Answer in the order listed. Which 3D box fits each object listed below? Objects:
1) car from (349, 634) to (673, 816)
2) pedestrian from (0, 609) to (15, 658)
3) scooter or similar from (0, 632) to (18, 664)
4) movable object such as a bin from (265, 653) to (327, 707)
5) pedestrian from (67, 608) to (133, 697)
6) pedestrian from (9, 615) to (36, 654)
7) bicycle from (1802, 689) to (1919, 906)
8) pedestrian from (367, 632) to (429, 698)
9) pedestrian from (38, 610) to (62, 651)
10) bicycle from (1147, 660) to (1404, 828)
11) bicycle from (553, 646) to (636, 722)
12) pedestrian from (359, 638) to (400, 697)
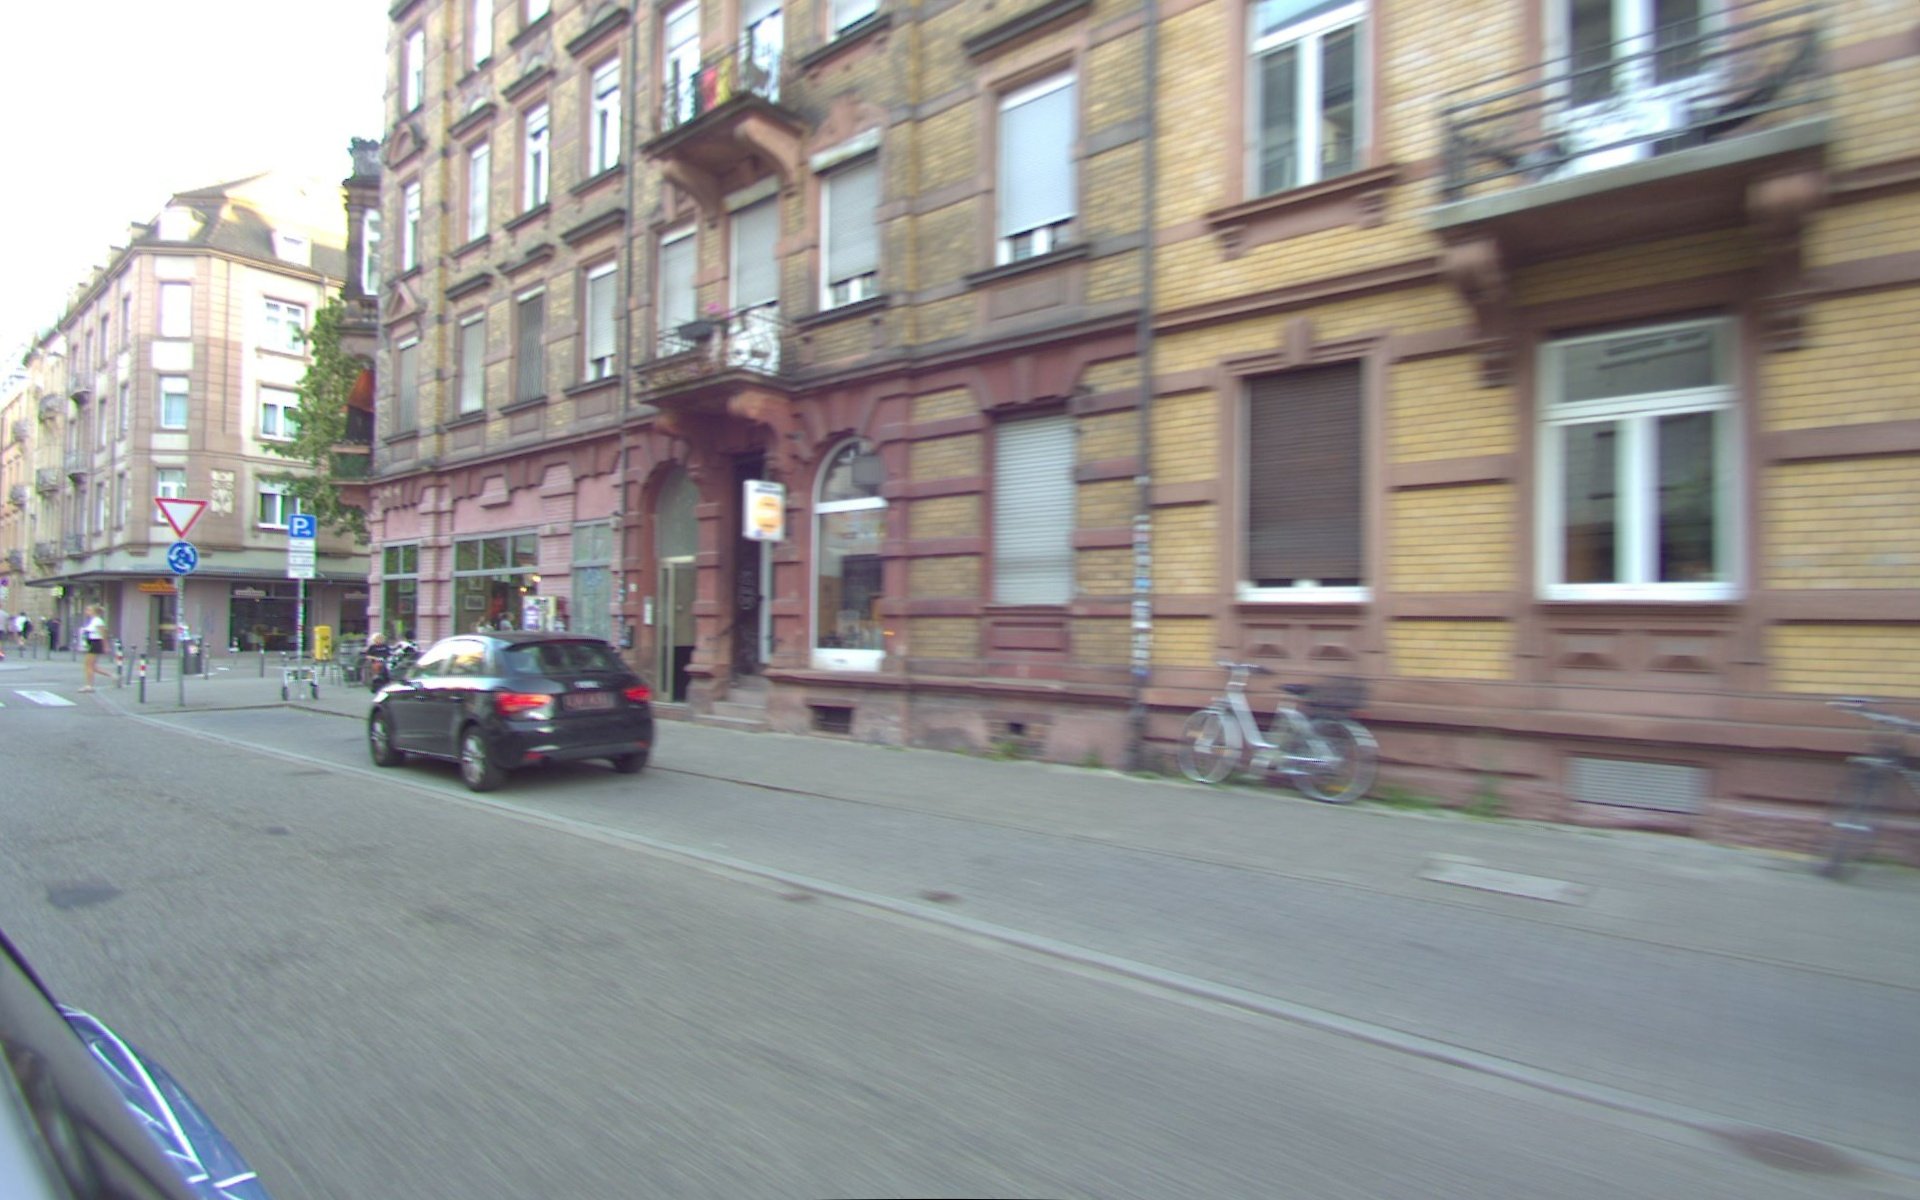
[{"bbox_3d":[-4.708,1.102,10.364,3.854,1.431,1.675,-1,-1,43],"label":"car"},{"bbox_3d":[-33.674,1.163,35.320,0.670,1.672,0.801,0,-2,30],"label":"pedestrian"},{"bbox_3d":[-33.611,1.663,35.260,1.167,1.112,0.801,0,-2,30],"label":"scooter or similar"},{"bbox_3d":[-12.352,1.478,18.828,0.728,0.922,0.754,1,0,37],"label":"movable object such as a bin"},{"bbox_3d":[-18.237,1.108,21.489,1.032,1.825,0.757,0,-3,-39],"label":"pedestrian"},{"bbox_3d":[-44.038,1.608,47.557,0.736,1.757,1.216,0,0,-33],"label":"pedestrian"},{"bbox_3d":[5.833,1.122,5.683,1.606,1.132,0.732,-1,-1,34],"label":"bicycle"},{"bbox_3d":[-11.203,1.280,20.182,0.903,1.264,0.644,-1,1,25],"label":"pedestrian"},{"bbox_3d":[-40.443,1.344,44.976,0.645,1.792,0.694,0,-2,-32],"label":"pedestrian"},{"bbox_3d":[2.612,1.144,8.583,2.048,1.180,0.521,-1,0,43],"label":"bicycle"},{"bbox_3d":[-5.761,1.289,15.891,1.898,1.061,0.420,0,-1,44],"label":"bicycle"},{"bbox_3d":[-11.972,1.379,20.863,0.791,1.152,0.498,1,0,42],"label":"pedestrian"}]
